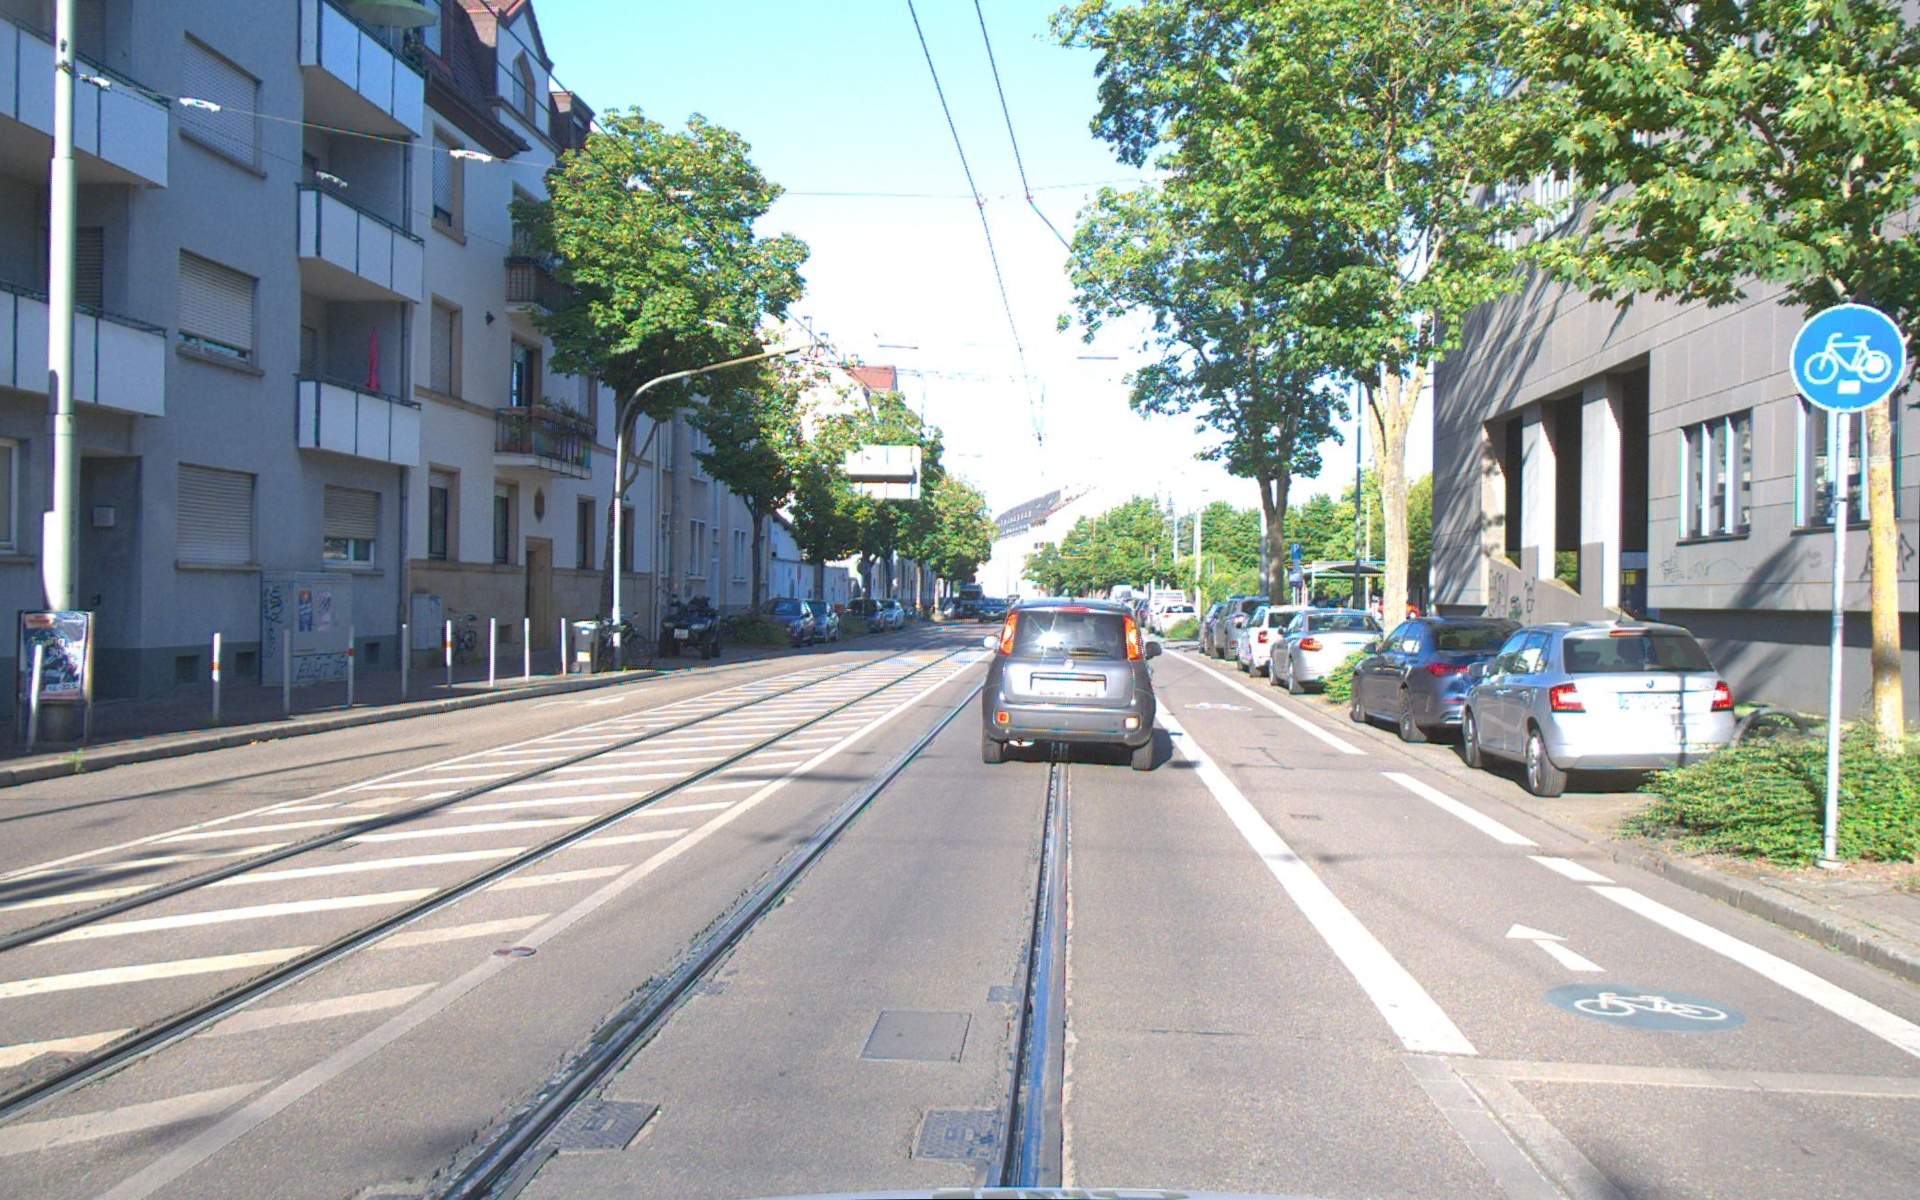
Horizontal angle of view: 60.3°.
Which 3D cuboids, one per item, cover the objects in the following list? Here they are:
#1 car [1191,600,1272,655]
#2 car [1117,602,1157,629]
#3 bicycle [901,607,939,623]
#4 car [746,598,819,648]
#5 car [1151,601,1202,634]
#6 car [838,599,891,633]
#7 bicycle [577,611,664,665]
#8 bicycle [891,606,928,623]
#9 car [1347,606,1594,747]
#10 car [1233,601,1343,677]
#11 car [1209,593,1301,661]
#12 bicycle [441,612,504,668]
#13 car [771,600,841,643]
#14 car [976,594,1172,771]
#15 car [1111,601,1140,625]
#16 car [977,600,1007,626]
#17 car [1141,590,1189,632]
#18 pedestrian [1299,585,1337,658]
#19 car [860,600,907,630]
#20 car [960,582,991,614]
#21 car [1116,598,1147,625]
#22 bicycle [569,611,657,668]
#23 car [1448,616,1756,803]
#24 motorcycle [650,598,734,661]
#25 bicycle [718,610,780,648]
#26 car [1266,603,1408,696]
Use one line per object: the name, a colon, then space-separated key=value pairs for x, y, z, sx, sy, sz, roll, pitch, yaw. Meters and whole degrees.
car: x=7.802 y=0.759 z=47.811 sx=1.804 sy=1.509 sz=4.189 roll=0 pitch=0 yaw=2
car: x=9.842 y=0.851 z=92.232 sx=1.915 sy=1.444 sz=4.189 roll=0 pitch=0 yaw=2
bicycle: x=-2.347 y=0.872 z=97.072 sx=2.282 sy=0.946 sz=0.787 roll=0 pitch=0 yaw=40
car: x=-5.589 y=0.691 z=52.504 sx=1.760 sy=1.512 sz=4.001 roll=0 pitch=0 yaw=2
car: x=9.625 y=0.768 z=73.619 sx=1.874 sy=1.399 sz=4.189 roll=0 pitch=0 yaw=2
car: x=-4.197 y=0.695 z=73.223 sx=1.915 sy=1.444 sz=4.189 roll=0 pitch=0 yaw=2
bicycle: x=-6.962 y=0.777 z=33.928 sx=1.679 sy=1.051 sz=0.442 roll=2 pitch=-1 yaw=-17
bicycle: x=-2.929 y=0.857 z=96.294 sx=2.223 sy=0.946 sz=0.787 roll=0 pitch=0 yaw=40
car: x=6.170 y=0.854 z=20.563 sx=1.801 sy=1.516 sz=4.644 roll=0 pitch=0 yaw=2
car: x=6.893 y=0.775 z=35.180 sx=1.709 sy=1.483 sz=4.620 roll=0 pitch=0 yaw=4
car: x=7.560 y=0.664 z=42.715 sx=1.779 sy=1.669 sz=4.106 roll=0 pitch=0 yaw=2
bicycle: x=-9.356 y=0.758 z=31.798 sx=0.495 sy=1.024 sz=2.021 roll=0 pitch=0 yaw=4
car: x=-5.329 y=0.713 z=57.742 sx=1.915 sy=1.444 sz=4.189 roll=0 pitch=0 yaw=2
car: x=1.132 y=0.736 z=16.526 sx=1.695 sy=1.527 sz=4.002 roll=1 pitch=-1 yaw=4
car: x=10.680 y=0.844 z=107.047 sx=1.660 sy=1.525 sz=4.001 roll=0 pitch=0 yaw=2
car: x=1.948 y=0.761 z=100.321 sx=1.744 sy=1.518 sz=4.189 roll=1 pitch=0 yaw=2
car: x=9.683 y=0.523 z=78.540 sx=1.915 sy=1.938 sz=4.189 roll=0 pitch=0 yaw=2
pedestrian: x=10.304 y=0.615 z=47.607 sx=0.948 sy=2.049 sz=1.026 roll=0 pitch=0 yaw=5
car: x=-3.711 y=0.706 z=80.522 sx=1.915 sy=1.444 sz=4.189 roll=0 pitch=0 yaw=2
car: x=1.291 y=-0.174 z=135.632 sx=2.284 sy=2.614 sz=5.674 roll=0 pitch=0 yaw=3
car: x=10.407 y=0.704 z=100.630 sx=1.660 sy=1.574 sz=4.001 roll=0 pitch=0 yaw=2
bicycle: x=-6.740 y=0.775 z=32.170 sx=1.589 sy=1.062 sz=0.454 roll=2 pitch=-1 yaw=-28
car: x=5.855 y=0.917 z=15.558 sx=1.607 sy=1.481 sz=3.916 roll=0 pitch=0 yaw=4
motorcycle: x=-6.608 y=0.698 z=40.975 sx=1.428 sy=1.507 sz=3.103 roll=0 pitch=0 yaw=3
bicycle: x=-6.196 y=0.848 z=48.560 sx=1.716 sy=1.041 sz=0.606 roll=2 pitch=-1 yaw=-17
car: x=6.578 y=0.817 z=29.245 sx=1.784 sy=1.489 sz=4.158 roll=1 pitch=0 yaw=3
